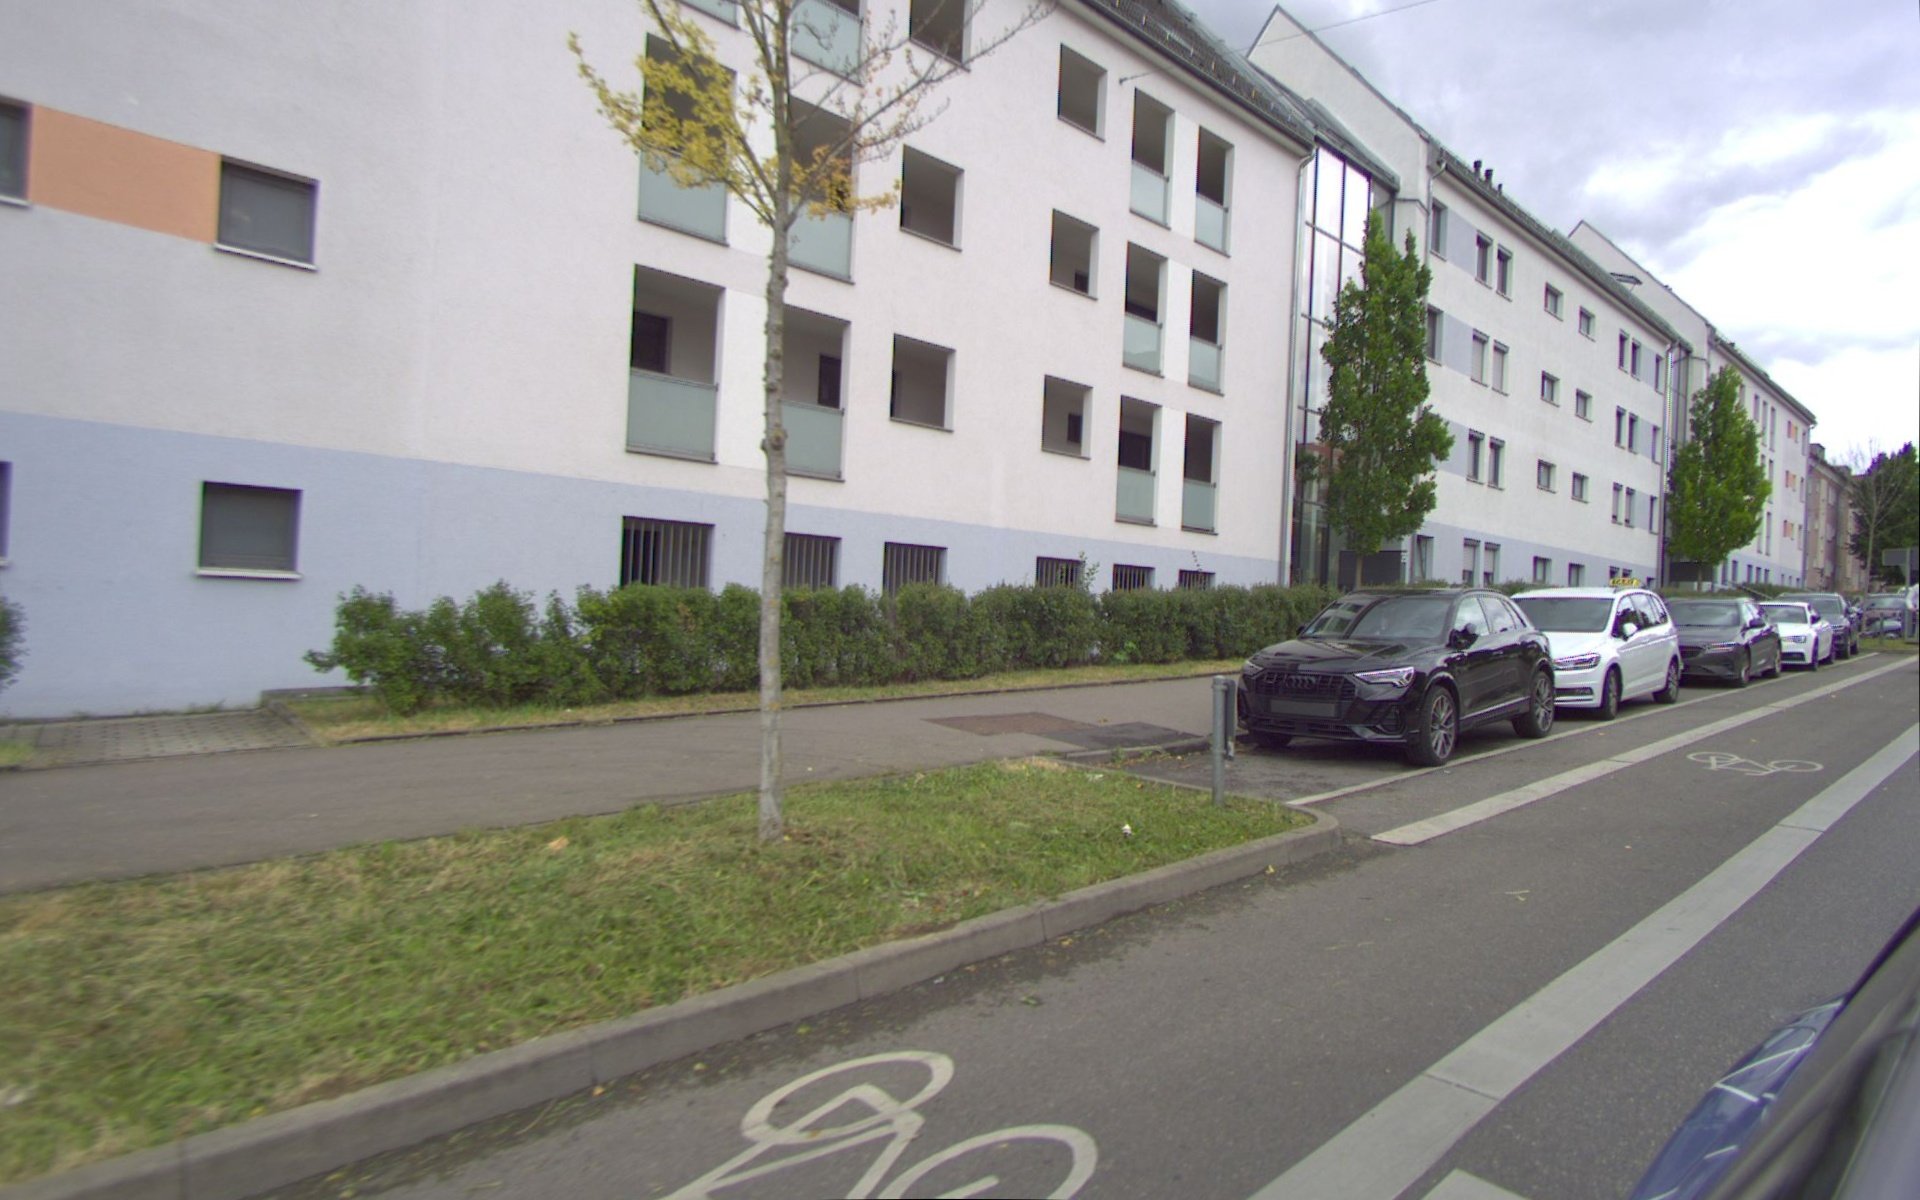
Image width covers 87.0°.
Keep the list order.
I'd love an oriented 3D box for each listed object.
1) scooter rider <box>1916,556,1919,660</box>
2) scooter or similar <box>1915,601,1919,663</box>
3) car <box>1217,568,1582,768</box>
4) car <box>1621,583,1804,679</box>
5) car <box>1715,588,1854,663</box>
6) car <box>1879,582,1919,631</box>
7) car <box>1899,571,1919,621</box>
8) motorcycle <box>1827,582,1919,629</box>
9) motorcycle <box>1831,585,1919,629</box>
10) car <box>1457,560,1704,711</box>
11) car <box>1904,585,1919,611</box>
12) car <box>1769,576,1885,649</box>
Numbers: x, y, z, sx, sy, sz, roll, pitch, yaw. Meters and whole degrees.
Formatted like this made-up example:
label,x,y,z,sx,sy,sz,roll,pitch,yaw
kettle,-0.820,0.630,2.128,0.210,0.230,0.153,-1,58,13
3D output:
label,x,y,z,sx,sy,sz,roll,pitch,yaw
scooter rider,19.157,0.164,19.764,0.745,2.039,0.626,0,1,-42
scooter or similar,19.185,0.622,19.828,2.039,1.178,0.491,0,1,-42
car,4.632,0.509,10.297,4.495,1.608,1.736,-1,1,-43
car,13.513,0.477,18.052,4.865,1.486,1.748,0,0,-43
car,17.650,0.478,21.591,4.424,1.431,1.732,0,0,-43
car,31.910,0.202,33.587,4.265,1.564,1.683,0,1,-43
car,40.236,-0.138,41.550,5.121,1.968,1.997,0,1,-42
motorcycle,28.607,0.160,31.353,0.681,1.398,2.599,0,1,-44
motorcycle,29.237,0.207,31.937,0.741,1.294,2.599,0,1,-44
car,8.544,0.397,13.773,4.473,1.737,1.661,0,0,-42
car,62.535,-0.100,63.534,1.866,1.640,4.370,0,2,-24
car,21.694,0.284,25.269,4.280,1.671,1.634,0,0,-41
